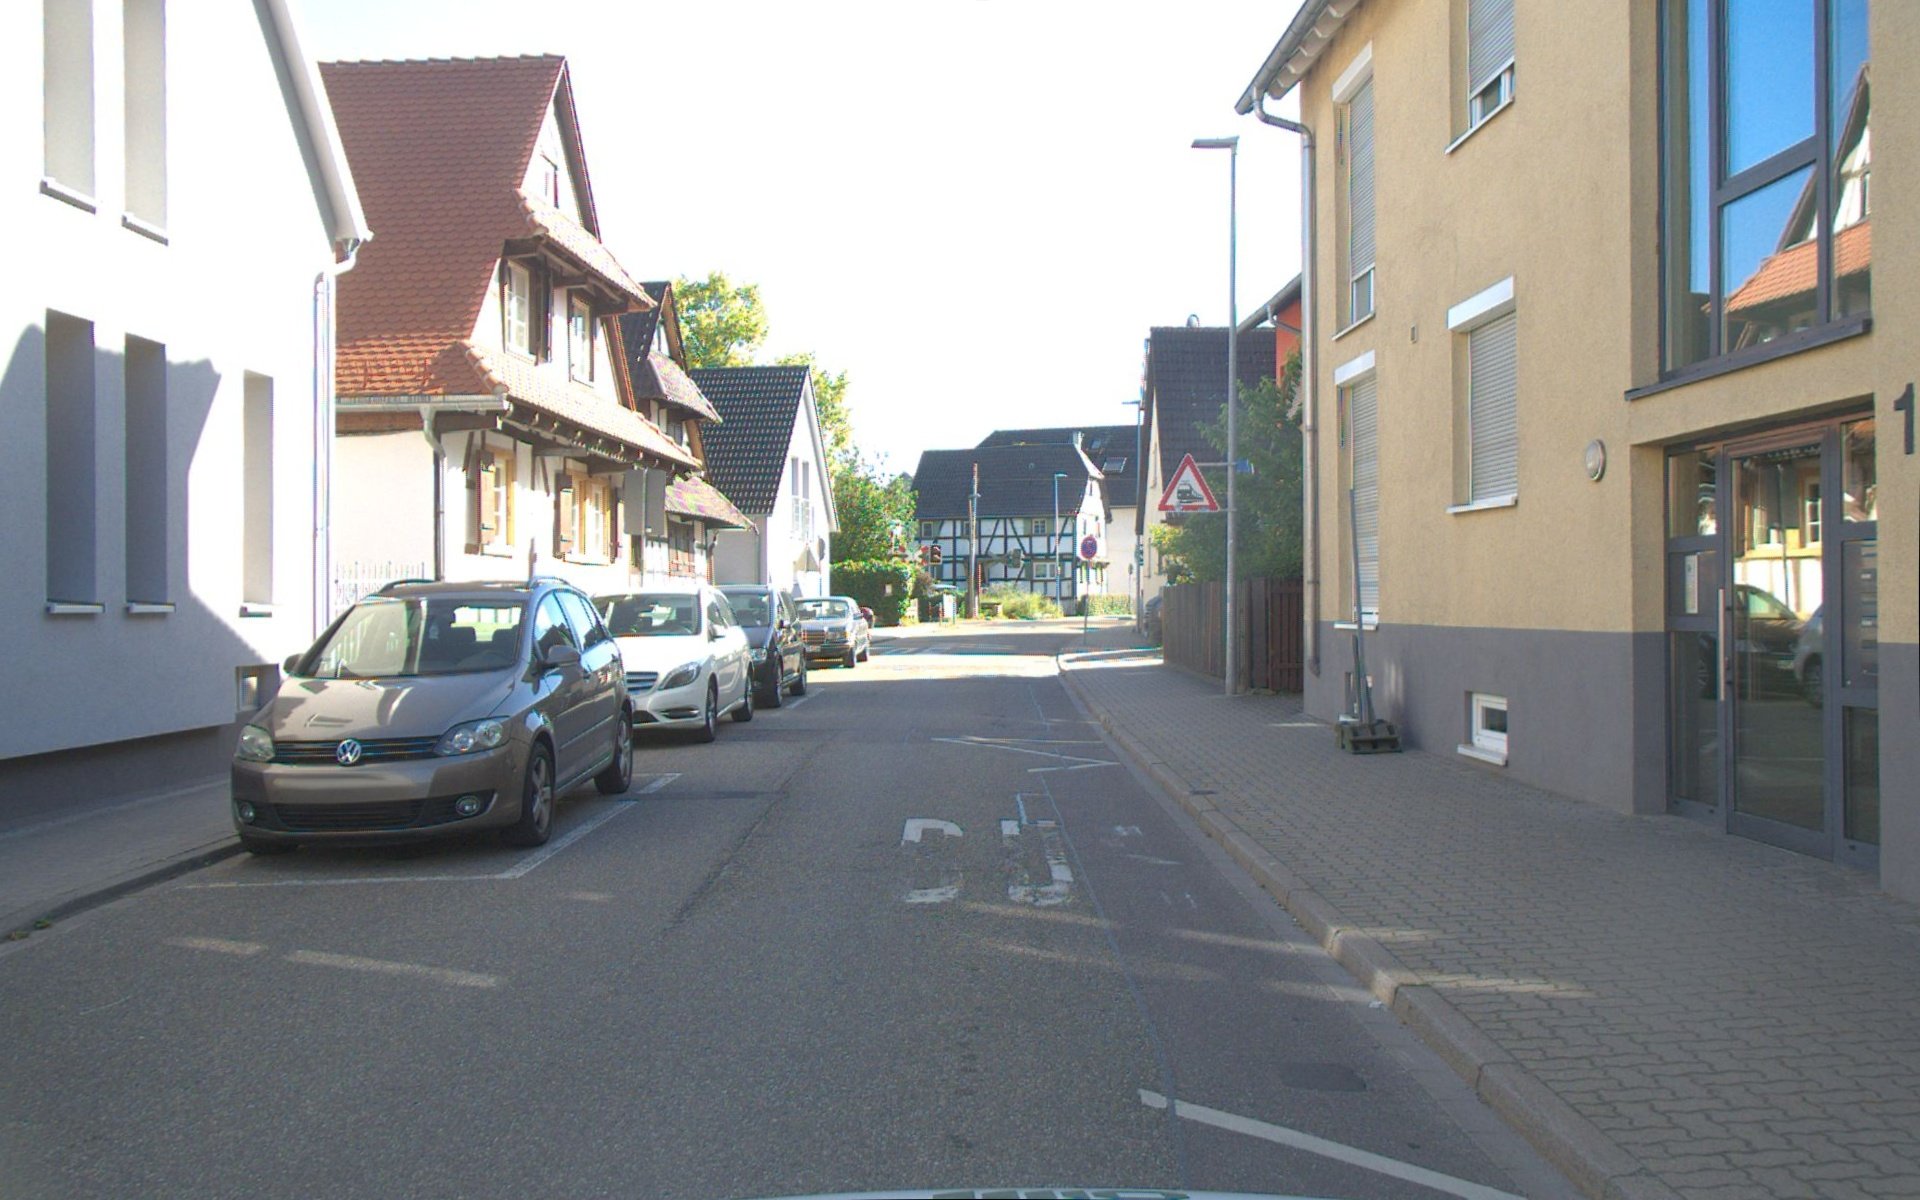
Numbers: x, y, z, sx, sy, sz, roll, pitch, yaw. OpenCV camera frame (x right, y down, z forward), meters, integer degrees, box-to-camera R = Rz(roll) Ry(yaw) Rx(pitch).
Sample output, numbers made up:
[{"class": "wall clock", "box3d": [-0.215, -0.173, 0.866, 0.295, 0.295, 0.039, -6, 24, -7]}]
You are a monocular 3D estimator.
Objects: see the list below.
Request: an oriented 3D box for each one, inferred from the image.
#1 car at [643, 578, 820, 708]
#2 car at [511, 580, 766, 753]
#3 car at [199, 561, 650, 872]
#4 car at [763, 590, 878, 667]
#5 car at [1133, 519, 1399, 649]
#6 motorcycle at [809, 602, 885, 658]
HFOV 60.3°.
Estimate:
[{"class": "car", "box3d": [-3.110, 0.549, 23.333, 1.747, 1.633, 4.362, -1, 0, 2]}, {"class": "car", "box3d": [-3.279, 0.634, 17.670, 1.778, 1.594, 4.169, -1, 0, 2]}, {"class": "car", "box3d": [-3.258, 0.631, 10.904, 1.707, 1.642, 3.999, -1, 0, -1]}, {"class": "car", "box3d": [-2.844, 0.563, 34.808, 1.806, 1.430, 5.037, -2, 0, 2]}, {"class": "car", "box3d": [7.045, -0.354, 38.411, 5.687, 2.701, 1.967, -3, -1, -3]}, {"class": "motorcycle", "box3d": [-2.623, 0.686, 38.343, 0.622, 1.253, 1.962, -2, 1, -44]}]
